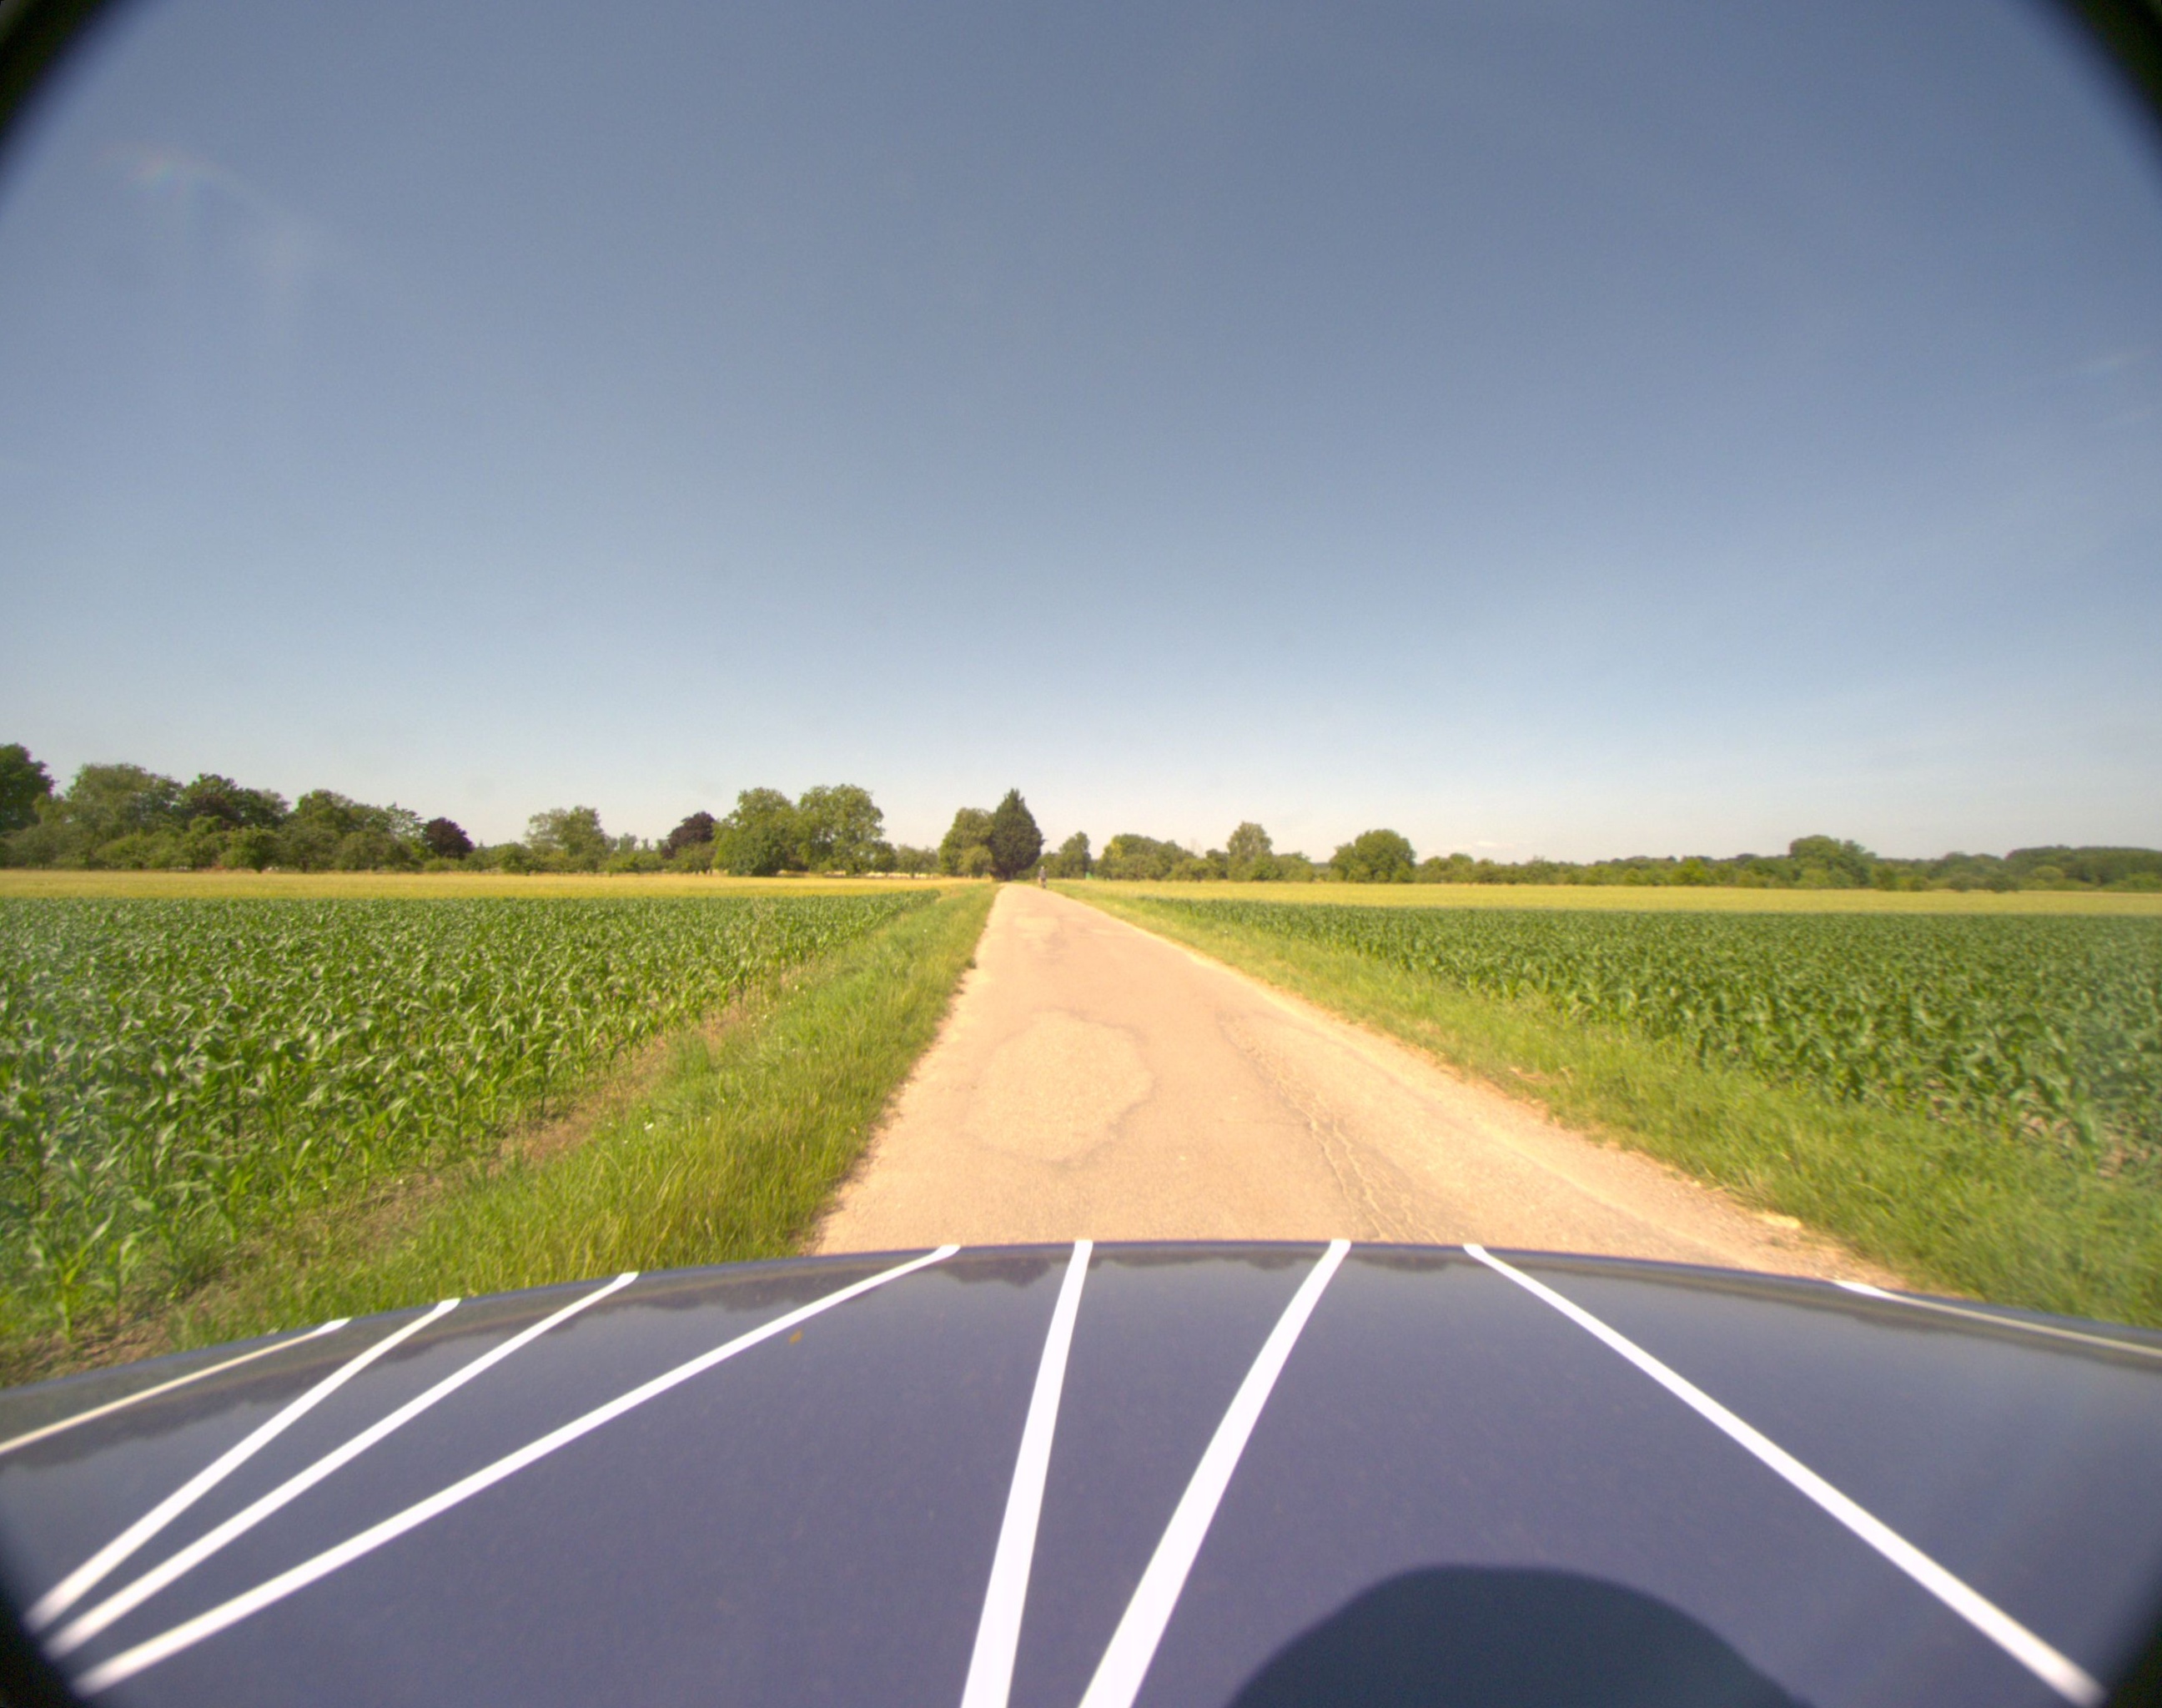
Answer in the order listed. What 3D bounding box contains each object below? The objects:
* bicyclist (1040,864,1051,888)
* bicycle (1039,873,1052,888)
[{"bbox_3d":[-2.751,1.709,59.207,0.752,1.780,0.717,3,0,1],"label":"bicyclist"},{"bbox_3d":[-2.761,2.034,59.217,0.752,1.121,1.909,3,-1,1],"label":"bicycle"}]
